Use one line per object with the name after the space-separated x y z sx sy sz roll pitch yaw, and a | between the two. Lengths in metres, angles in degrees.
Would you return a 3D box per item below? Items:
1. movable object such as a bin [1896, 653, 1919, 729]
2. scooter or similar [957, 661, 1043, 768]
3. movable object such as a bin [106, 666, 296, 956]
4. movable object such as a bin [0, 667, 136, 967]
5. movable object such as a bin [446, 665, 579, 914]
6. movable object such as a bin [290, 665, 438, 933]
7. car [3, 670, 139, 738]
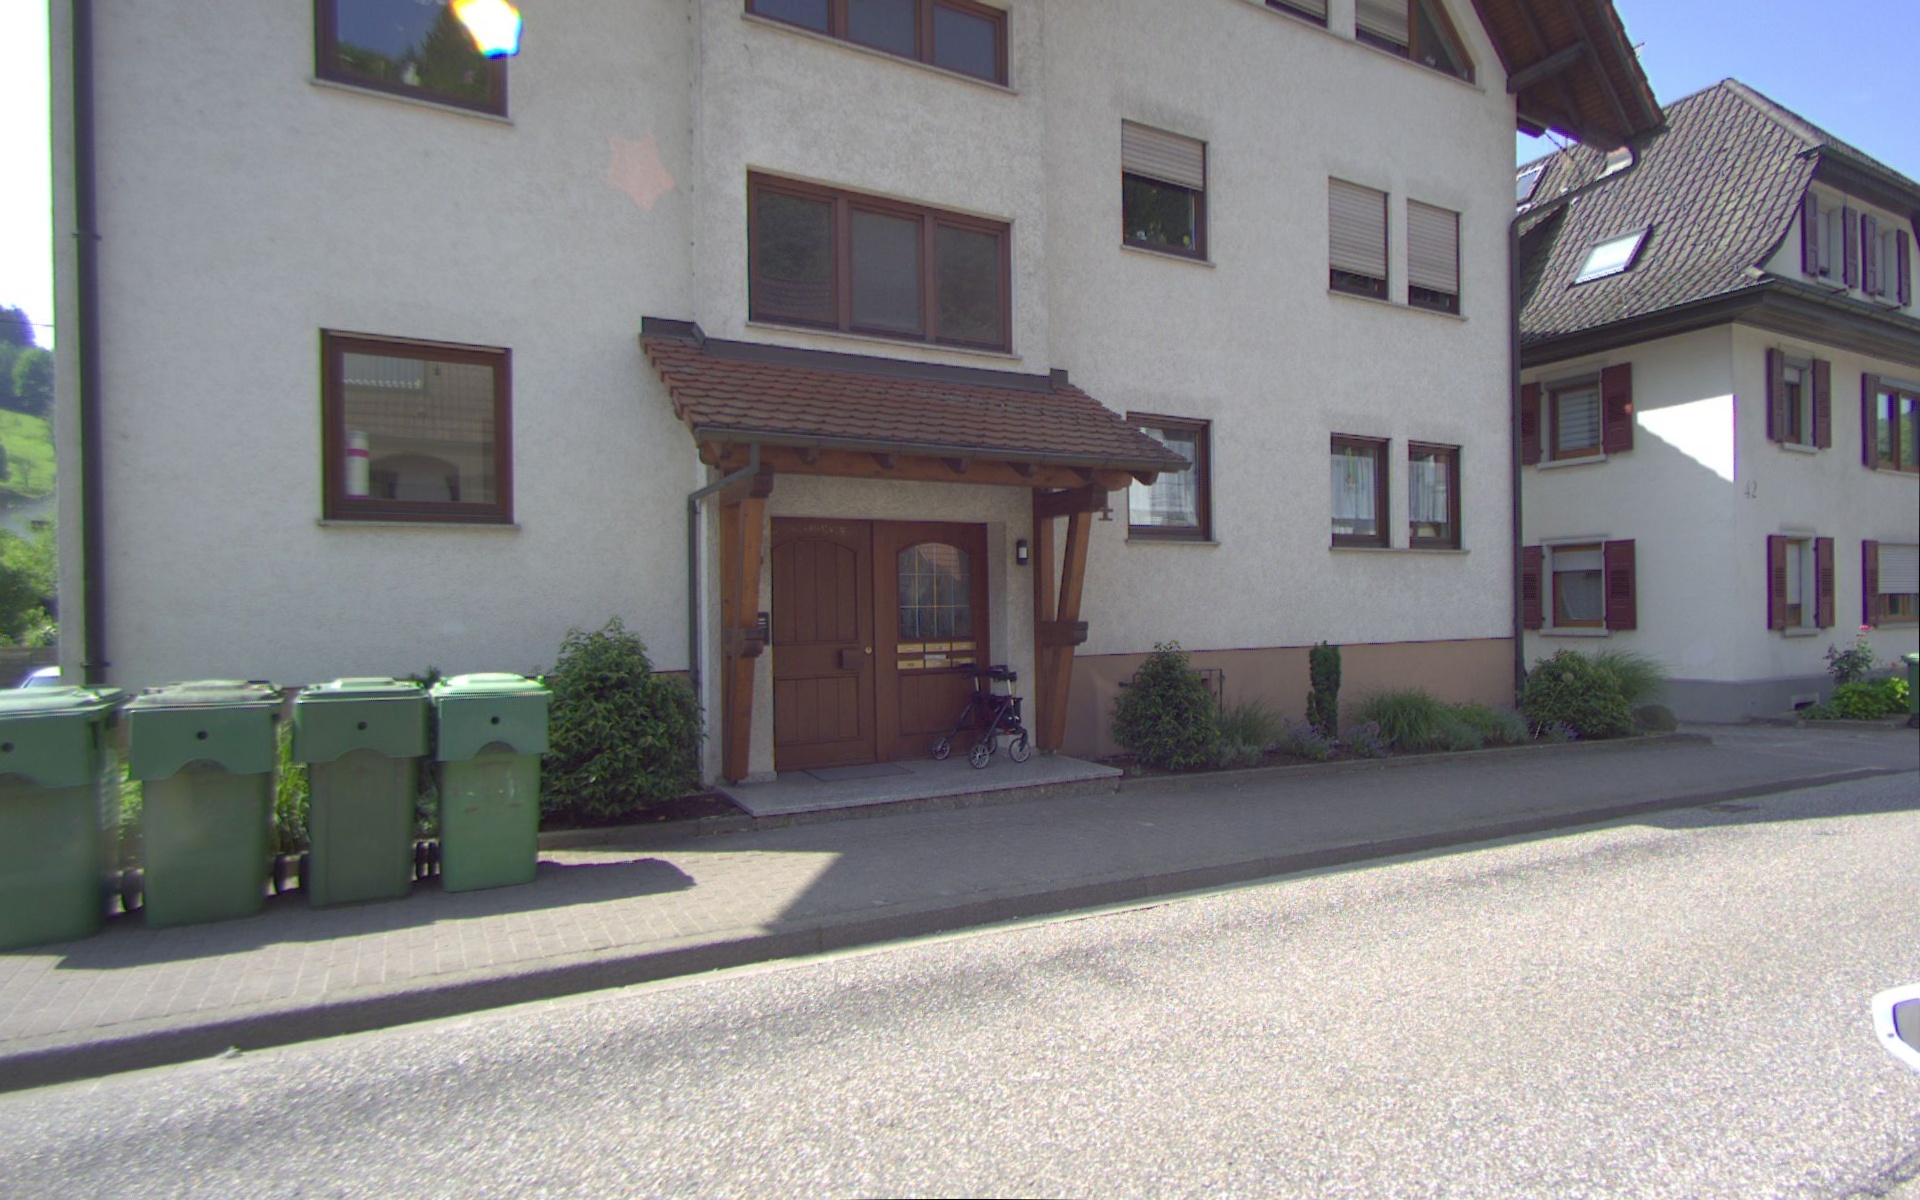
14.213 1.325 14.646 0.646 1.081 0.672 1 -1 -31 | movable object such as a bin
0.330 0.938 8.399 0.531 0.837 0.503 2 -2 -30 | scooter or similar
-3.514 0.920 4.710 0.590 1.197 0.715 1 -3 -29 | movable object such as a bin
-4.084 0.904 4.394 0.590 1.197 0.715 1 -3 -29 | movable object such as a bin
-2.404 0.953 5.373 0.590 1.197 0.715 1 -3 -29 | movable object such as a bin
-2.965 0.937 5.047 0.590 1.197 0.715 1 -3 -29 | movable object such as a bin
-24.023 2.768 27.295 1.717 1.675 3.653 1 -5 -25 | car
